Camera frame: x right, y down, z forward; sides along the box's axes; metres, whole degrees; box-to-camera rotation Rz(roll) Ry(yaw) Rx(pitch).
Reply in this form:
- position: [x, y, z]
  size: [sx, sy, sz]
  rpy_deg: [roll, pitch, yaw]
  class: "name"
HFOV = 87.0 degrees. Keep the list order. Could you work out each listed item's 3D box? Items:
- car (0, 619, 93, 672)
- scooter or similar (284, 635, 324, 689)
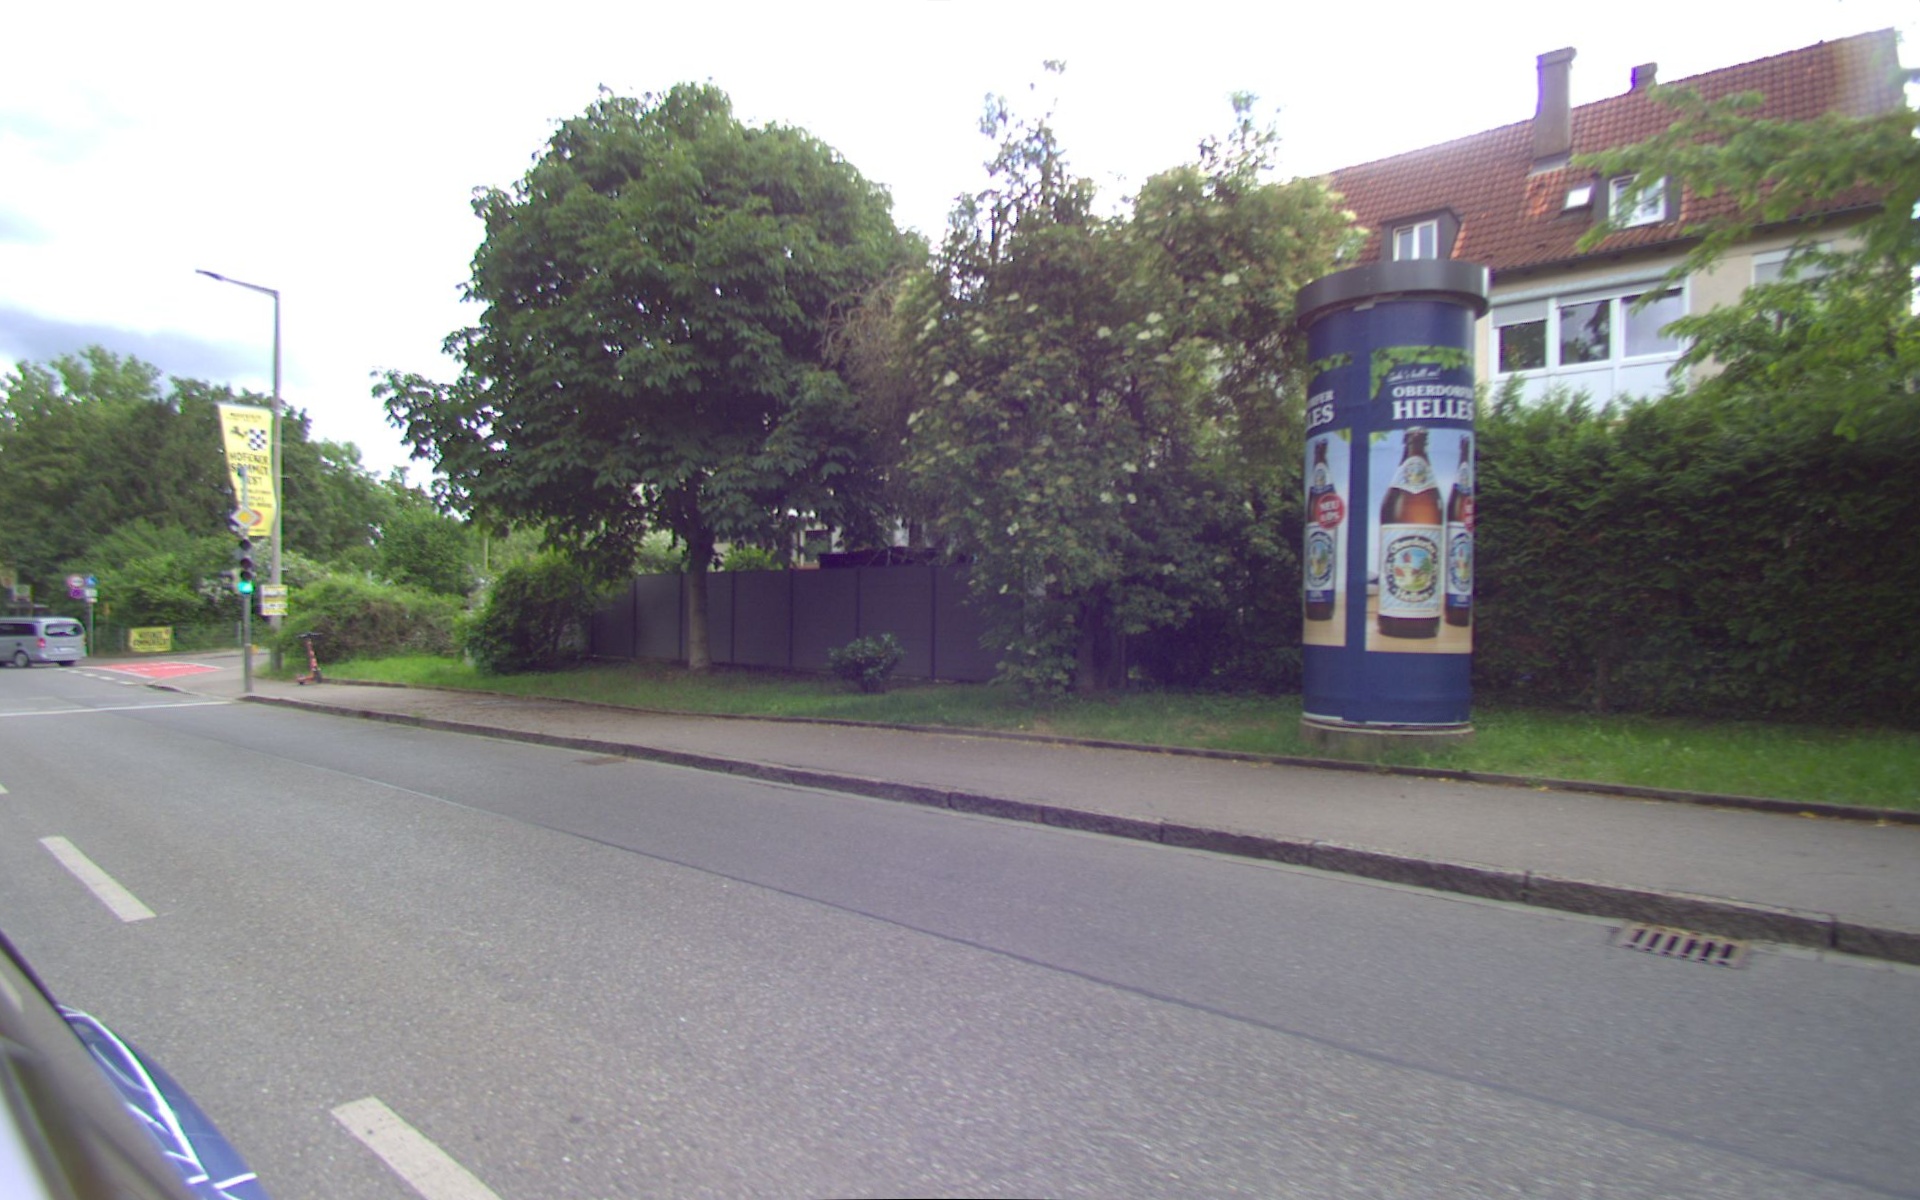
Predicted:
- position: [-37.384, 1.811, 39.832]
  size: [5.091, 1.942, 1.949]
  rpy_deg: [-2, 0, 6]
  class: "car"
- position: [-16.025, 1.501, 24.726]
  size: [1.426, 1.268, 0.457]
  rpy_deg: [-2, -1, 42]
  class: "scooter or similar"
